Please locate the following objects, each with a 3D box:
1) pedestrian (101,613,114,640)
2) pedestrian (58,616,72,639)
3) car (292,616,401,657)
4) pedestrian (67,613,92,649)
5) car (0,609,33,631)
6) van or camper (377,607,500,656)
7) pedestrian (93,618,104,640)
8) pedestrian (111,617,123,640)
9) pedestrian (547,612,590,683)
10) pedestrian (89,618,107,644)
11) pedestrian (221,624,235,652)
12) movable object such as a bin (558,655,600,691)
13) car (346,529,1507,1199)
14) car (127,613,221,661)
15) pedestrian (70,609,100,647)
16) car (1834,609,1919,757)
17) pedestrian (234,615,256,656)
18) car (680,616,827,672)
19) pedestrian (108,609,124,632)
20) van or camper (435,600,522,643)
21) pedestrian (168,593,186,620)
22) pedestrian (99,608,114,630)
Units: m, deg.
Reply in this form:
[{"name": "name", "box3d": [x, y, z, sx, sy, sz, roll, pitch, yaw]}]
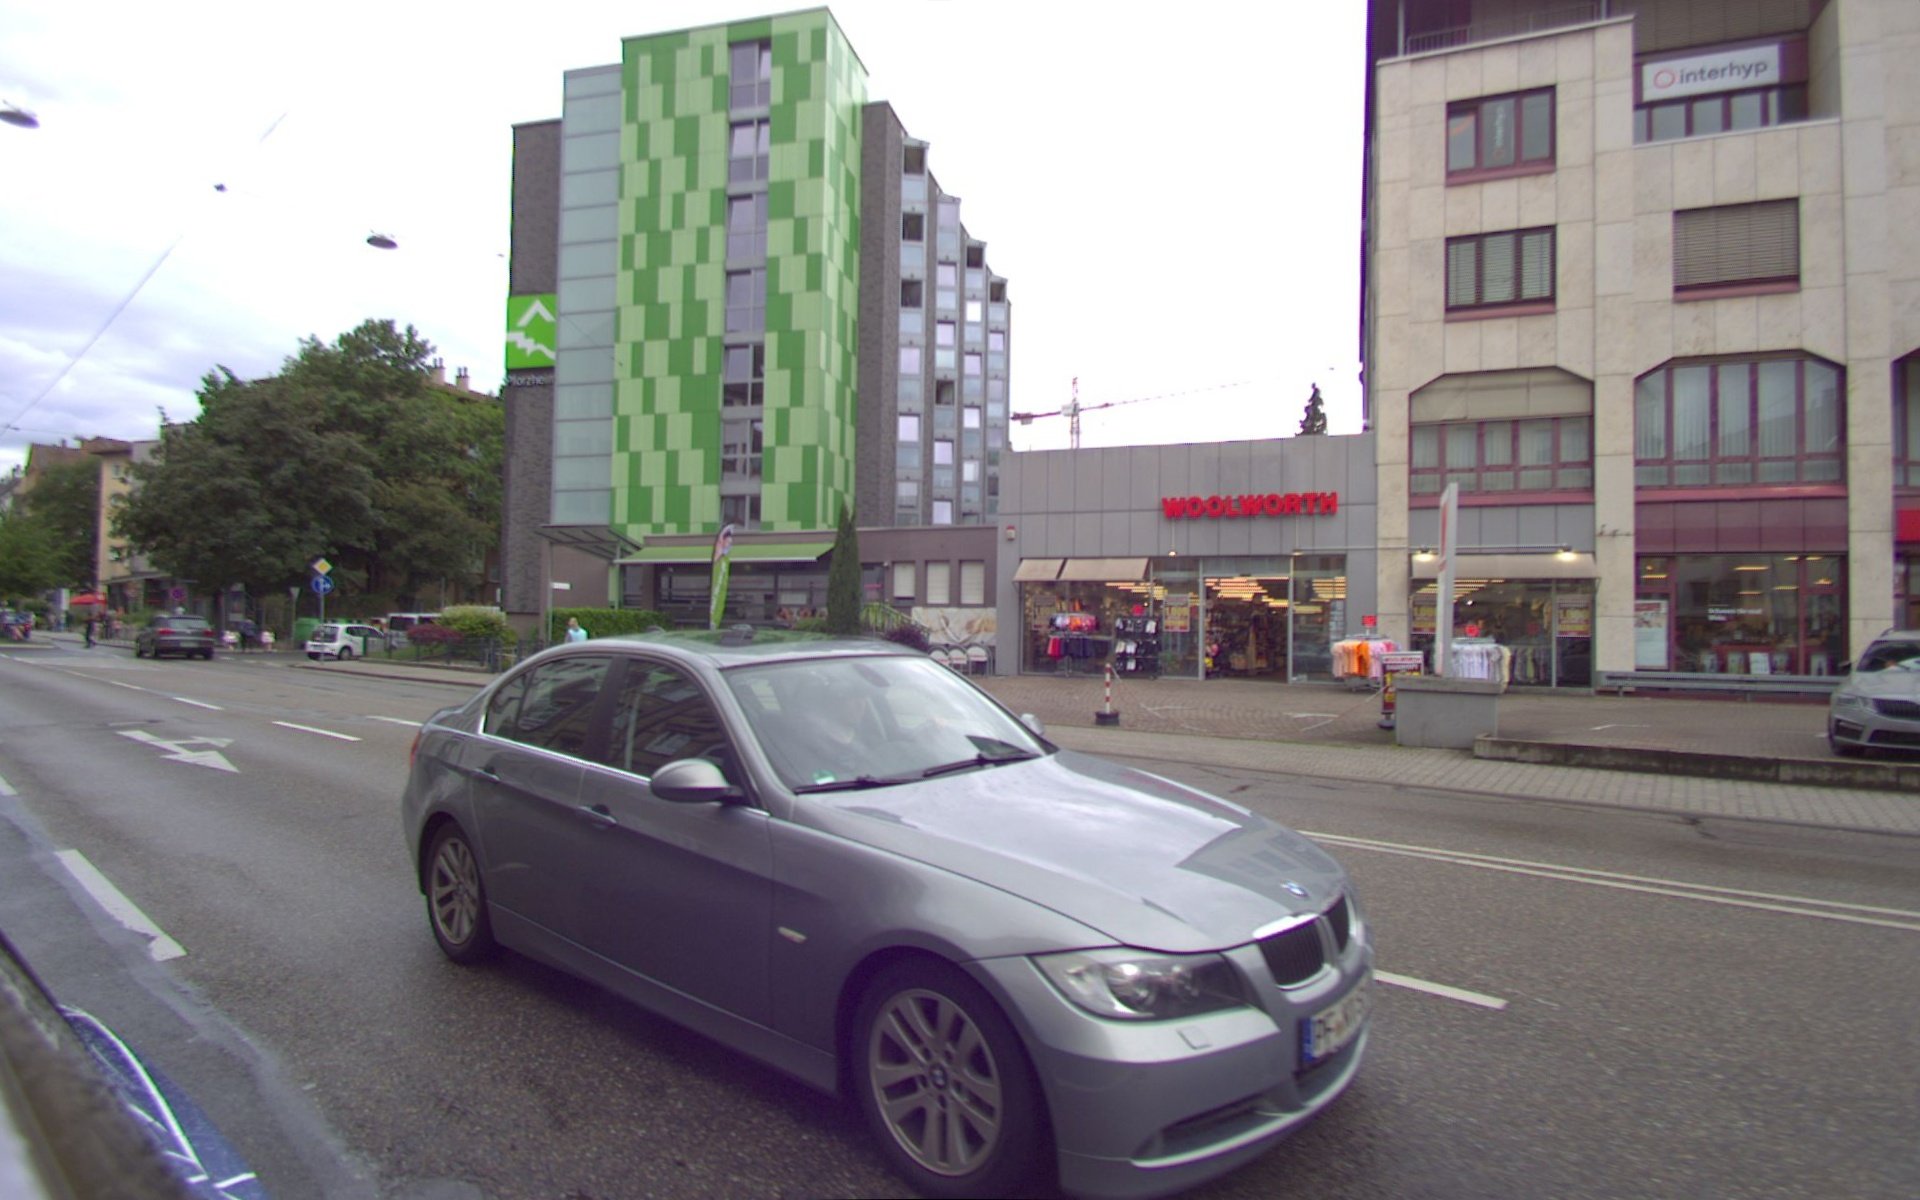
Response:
[{"name": "pedestrian", "box3d": [-55.483, 1.723, 65.846, 0.552, 1.686, 0.493, -1, -2, 38]}, {"name": "pedestrian", "box3d": [-71.917, 2.209, 81.345, 0.868, 1.833, 0.584, 0, -2, 33]}, {"name": "car", "box3d": [-24.948, 1.455, 41.276, 1.727, 1.581, 3.567, -1, -1, 19]}, {"name": "pedestrian", "box3d": [-44.130, 1.548, 50.745, 0.716, 1.772, 0.652, 0, -2, 20]}, {"name": "car", "box3d": [-64.392, 1.353, 68.424, 4.498, 1.436, 1.992, -1, -2, 41]}, {"name": "van or camper", "box3d": [-23.788, 1.458, 46.356, 1.986, 2.029, 4.933, -4, -3, 21]}, {"name": "pedestrian", "box3d": [-55.741, 1.875, 65.465, 0.480, 1.421, 0.429, -1, -2, 38]}, {"name": "pedestrian", "box3d": [-55.139, 1.875, 66.209, 0.529, 1.484, 0.455, -1, -2, 38]}, {"name": "pedestrian", "box3d": [-9.561, 1.145, 24.735, 0.743, 1.698, 0.748, 1, -2, -4]}, {"name": "pedestrian", "box3d": [-60.971, 2.200, 71.599, 0.717, 1.840, 0.718, -1, -2, 22]}, {"name": "pedestrian", "box3d": [-31.372, 1.636, 43.375, 0.310, 1.207, 0.405, -1, -2, 35]}, {"name": "movable object such as a bin", "box3d": [-9.117, 1.746, 24.242, 0.743, 0.795, 0.734, 1, -1, -4]}, {"name": "car", "box3d": [-0.537, 0.673, 3.881, 4.366, 1.475, 1.781, -2, -2, 40]}, {"name": "car", "box3d": [-29.014, 1.346, 37.329, 4.054, 1.672, 1.928, -1, -2, 40]}, {"name": "pedestrian", "box3d": [-43.386, 1.400, 50.186, 0.691, 1.859, 0.854, 0, -2, 27]}, {"name": "car", "box3d": [11.749, 0.884, 11.907, 4.394, 1.538, 1.887, 1, -1, -45]}, {"name": "pedestrian", "box3d": [-31.009, 1.526, 43.895, 0.580, 1.775, 0.569, -1, -2, 35]}, {"name": "car", "box3d": [-5.856, 1.180, 28.282, 1.969, 1.450, 4.659, 2, -2, -41]}, {"name": "pedestrian", "box3d": [-63.480, 1.563, 76.106, 0.701, 1.691, 0.803, 1, -2, -21]}, {"name": "van or camper", "box3d": [-27.490, 1.195, 57.957, 2.189, 2.283, 4.601, -1, 0, 12]}, {"name": "pedestrian", "box3d": [-54.354, 0.444, 70.239, 0.715, 1.840, 0.720, -1, -1, 13]}, {"name": "pedestrian", "box3d": [-64.690, 1.441, 76.709, 0.713, 1.691, 0.706, -1, -2, 41]}]
